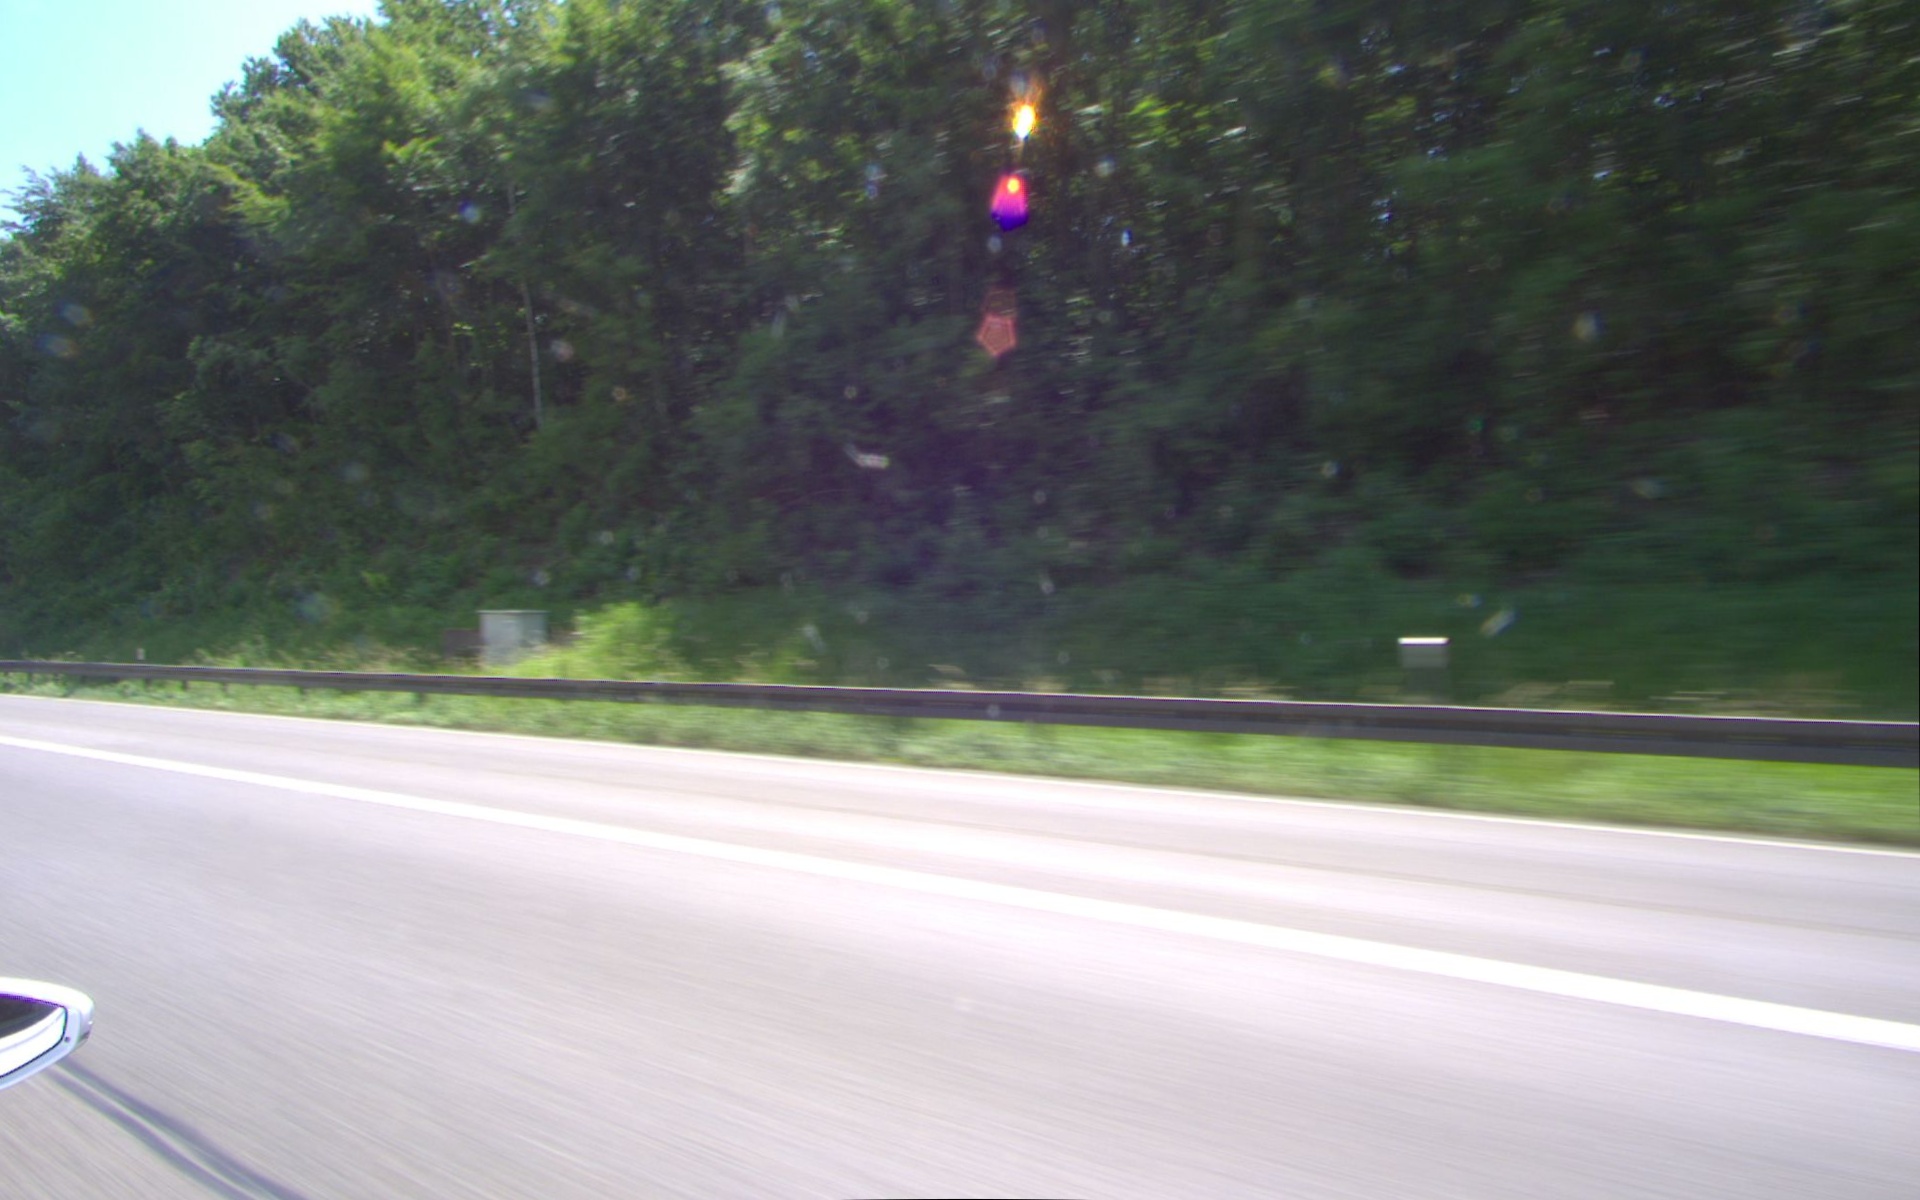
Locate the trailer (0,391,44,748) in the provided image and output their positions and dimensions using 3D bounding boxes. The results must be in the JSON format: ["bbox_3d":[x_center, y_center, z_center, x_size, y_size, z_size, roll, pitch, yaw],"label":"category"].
[{"bbox_3d":[-16.056,-0.270,13.703,9.921,4.230,2.675,-1,-1,32],"label":"trailer"}]
